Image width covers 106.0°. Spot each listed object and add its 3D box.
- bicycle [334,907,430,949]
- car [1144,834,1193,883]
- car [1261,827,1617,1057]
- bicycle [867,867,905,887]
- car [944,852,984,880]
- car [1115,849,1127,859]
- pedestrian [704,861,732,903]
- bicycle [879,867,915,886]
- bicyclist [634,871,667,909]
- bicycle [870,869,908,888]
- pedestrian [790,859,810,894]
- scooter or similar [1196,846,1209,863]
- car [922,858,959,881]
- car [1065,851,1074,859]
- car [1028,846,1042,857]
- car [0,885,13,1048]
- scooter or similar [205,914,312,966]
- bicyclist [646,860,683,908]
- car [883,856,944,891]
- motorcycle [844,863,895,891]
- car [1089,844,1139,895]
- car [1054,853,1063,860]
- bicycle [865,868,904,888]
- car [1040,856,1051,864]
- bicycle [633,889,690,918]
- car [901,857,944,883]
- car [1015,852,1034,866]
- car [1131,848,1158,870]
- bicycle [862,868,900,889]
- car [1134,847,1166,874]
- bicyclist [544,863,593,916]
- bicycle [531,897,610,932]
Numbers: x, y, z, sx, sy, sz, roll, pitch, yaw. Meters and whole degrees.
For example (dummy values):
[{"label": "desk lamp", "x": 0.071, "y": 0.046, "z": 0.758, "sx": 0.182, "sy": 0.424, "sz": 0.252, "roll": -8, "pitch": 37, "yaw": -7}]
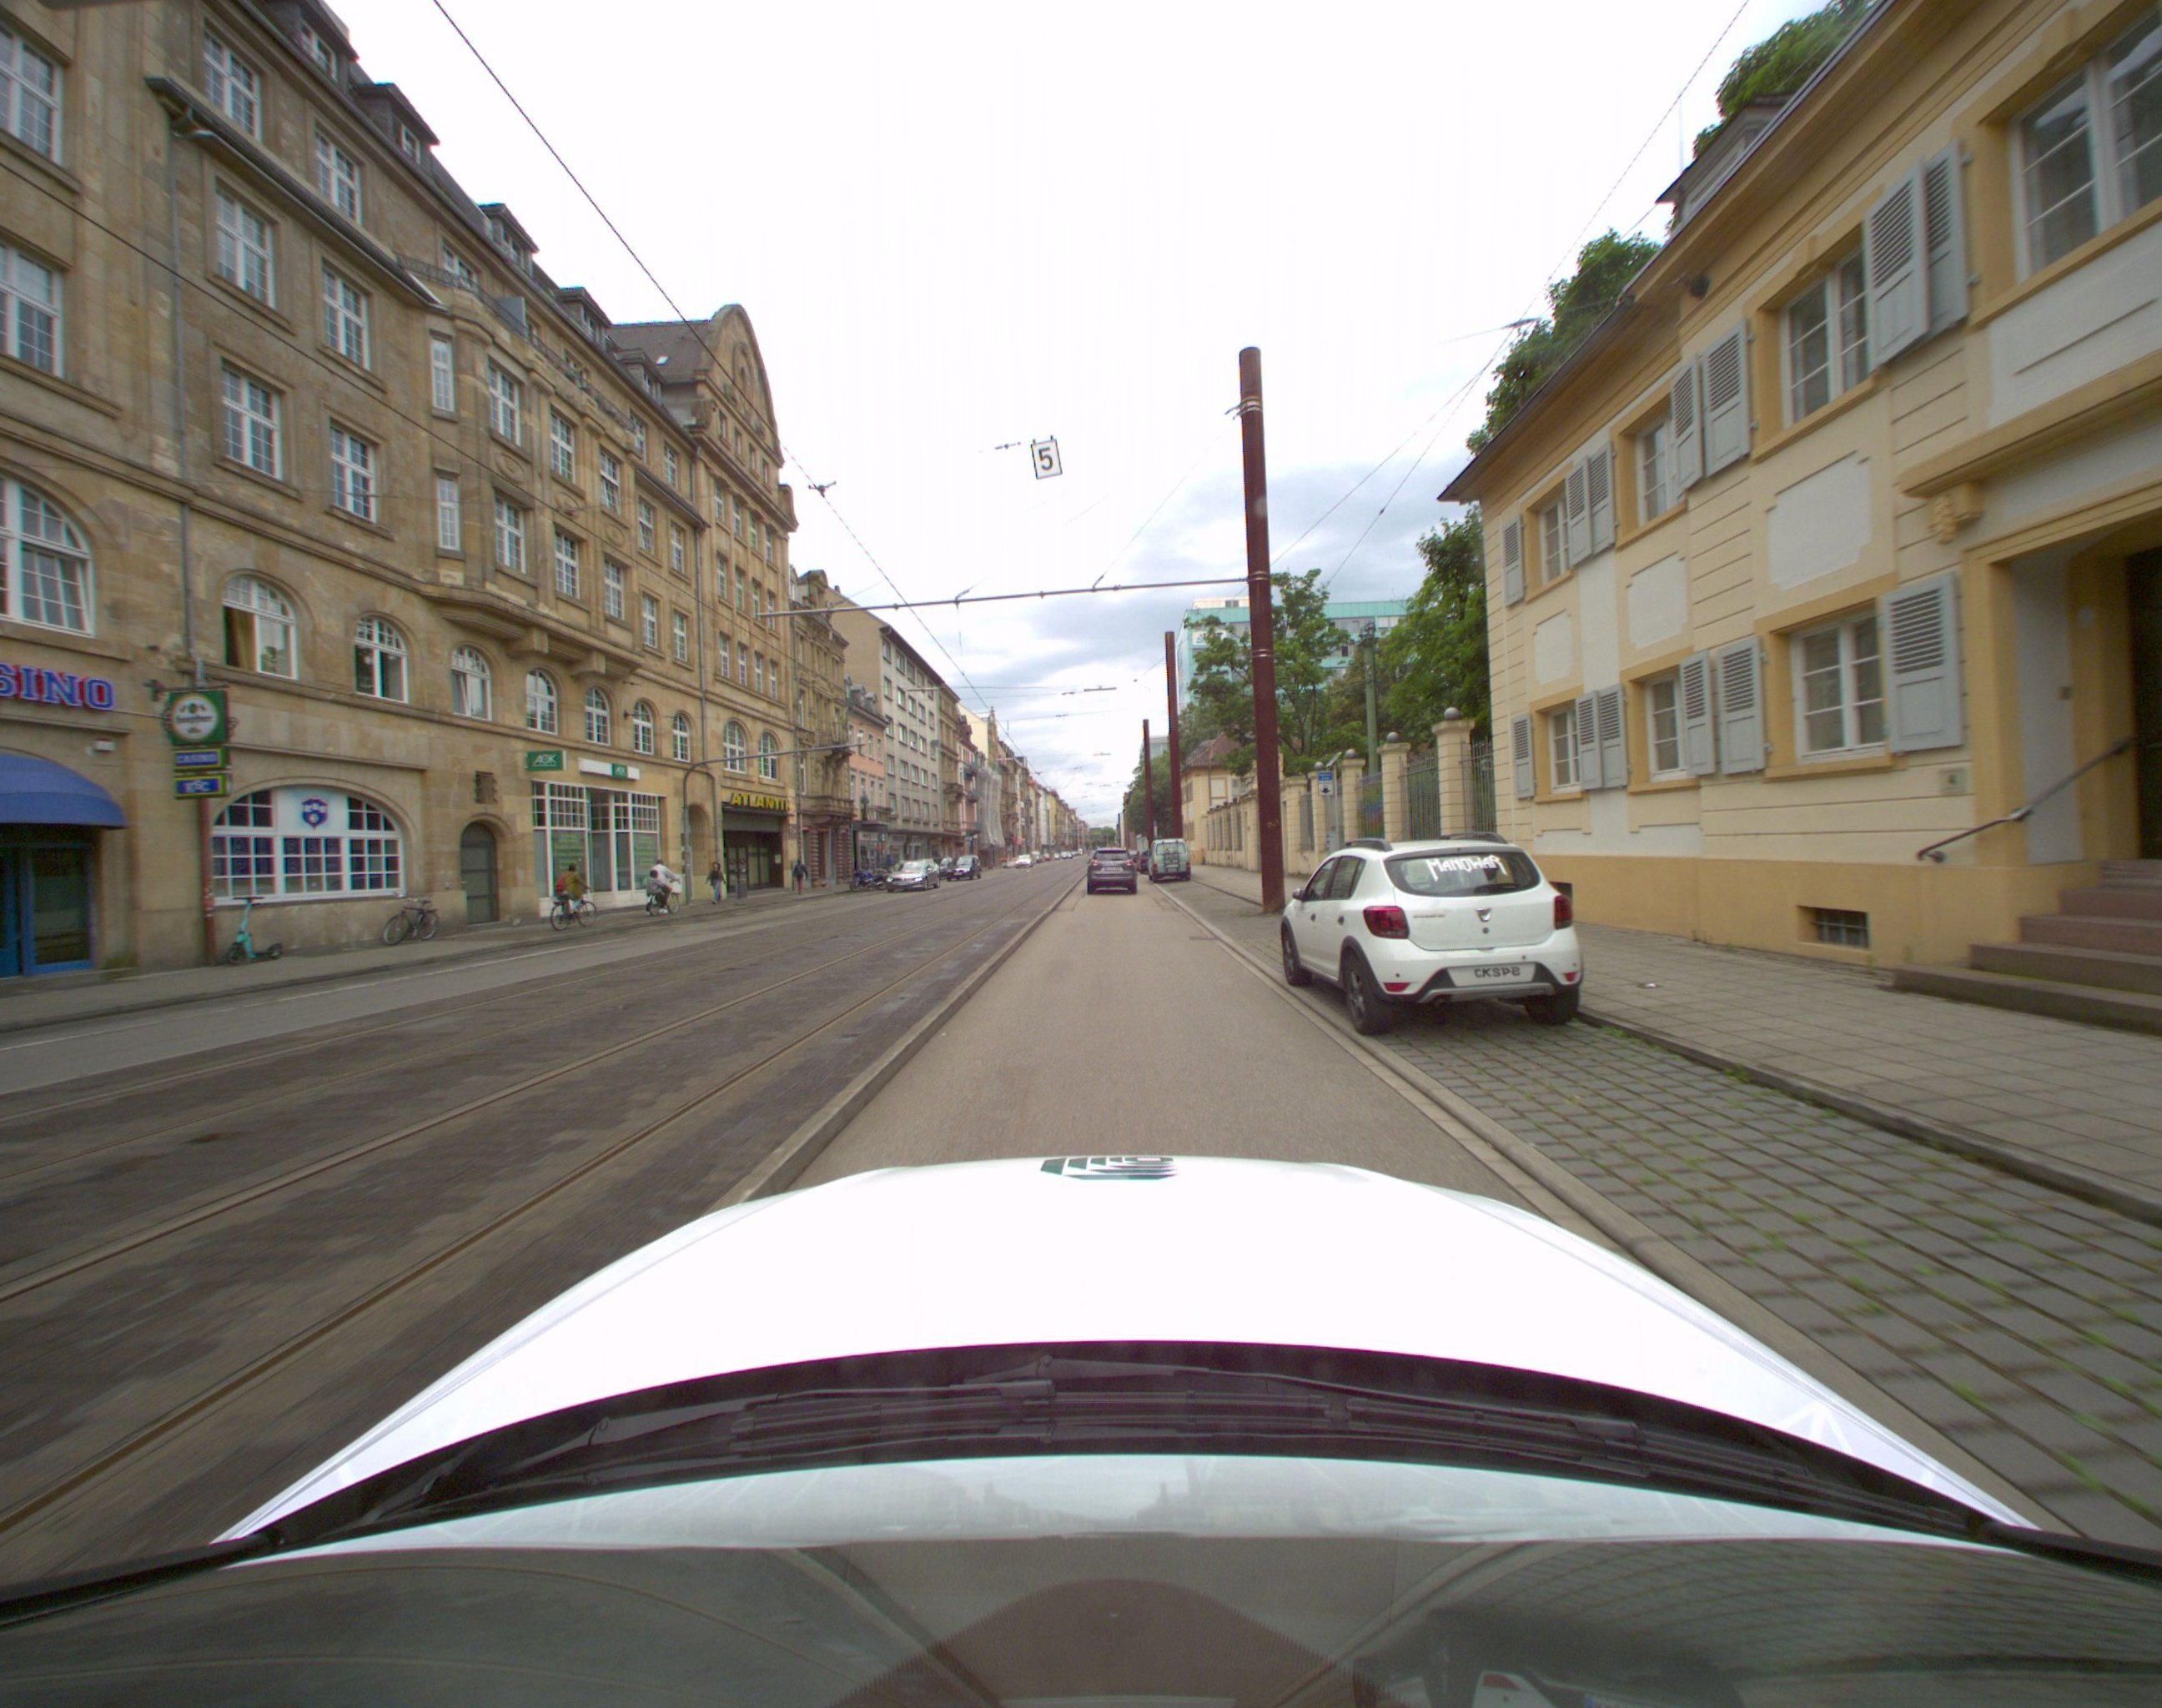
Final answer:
[{"label": "bicycle", "x": -15.366, "y": 1.607, "z": 17.960, "sx": 0.579, "sy": 0.745, "sz": 1.707, "roll": -2, "pitch": 0, "yaw": 2}, {"label": "car", "x": 4.191, "y": 0.198, "z": 39.804, "sx": 1.844, "sy": 2.115, "sz": 4.986, "roll": -5, "pitch": 0, "yaw": 2}, {"label": "car", "x": 3.090, "y": 0.639, "z": 8.011, "sx": 1.749, "sy": 1.574, "sz": 3.932, "roll": -5, "pitch": 0, "yaw": 1}, {"label": "bicycle", "x": -10.855, "y": 1.286, "z": 45.422, "sx": 1.963, "sy": 1.001, "sz": 0.462, "roll": -2, "pitch": 0, "yaw": -6}, {"label": "car", "x": -7.638, "y": 0.738, "z": 53.699, "sx": 1.752, "sy": 1.671, "sz": 4.617, "roll": -2, "pitch": 0, "yaw": 2}, {"label": "car", "x": 5.967, "y": 0.021, "z": 121.471, "sx": 1.769, "sy": 1.420, "sz": 4.136, "roll": -2, "pitch": 0, "yaw": 2}, {"label": "pedestrian", "x": -14.260, "y": 1.094, "z": 32.010, "sx": 0.682, "sy": 1.613, "sz": 0.742, "roll": -2, "pitch": 0, "yaw": 2}, {"label": "bicycle", "x": -10.807, "y": 1.330, "z": 47.837, "sx": 1.963, "sy": 1.001, "sz": 0.462, "roll": -2, "pitch": 0, "yaw": -6}, {"label": "bicyclist", "x": -13.358, "y": 1.111, "z": 25.277, "sx": 0.609, "sy": 1.117, "sz": 0.660, "roll": -2, "pitch": 0, "yaw": 2}, {"label": "bicycle", "x": -10.842, "y": 1.385, "z": 46.001, "sx": 1.963, "sy": 1.001, "sz": 0.462, "roll": -2, "pitch": 0, "yaw": -6}, {"label": "pedestrian", "x": -13.054, "y": 1.028, "z": 37.843, "sx": 0.566, "sy": 1.598, "sz": 0.718, "roll": -2, "pitch": 0, "yaw": 1}, {"label": "scooter or similar", "x": 9.131, "y": 0.048, "z": 61.369, "sx": 0.744, "sy": 1.250, "sz": 1.920, "roll": -2, "pitch": -1, "yaw": 2}, {"label": "car", "x": -10.272, "y": 1.098, "z": 59.955, "sx": 1.769, "sy": 1.504, "sz": 4.403, "roll": -2, "pitch": 0, "yaw": 2}, {"label": "car", "x": -2.475, "y": 0.283, "z": 178.605, "sx": 1.988, "sy": 1.635, "sz": 3.998, "roll": -2, "pitch": -1, "yaw": -1}, {"label": "car", "x": -7.410, "y": -0.407, "z": 130.844, "sx": 1.988, "sy": 1.706, "sz": 3.998, "roll": -2, "pitch": -1, "yaw": -1}, {"label": "car", "x": -12.072, "y": 1.084, "z": 5.833, "sx": 1.892, "sy": 1.977, "sz": 5.099, "roll": -5, "pitch": 0, "yaw": 1}, {"label": "scooter or similar", "x": -15.352, "y": 1.593, "z": 15.242, "sx": 0.579, "sy": 0.802, "sz": 1.346, "roll": -2, "pitch": 0, "yaw": 2}, {"label": "bicyclist", "x": -13.336, "y": 0.938, "z": 26.093, "sx": 0.609, "sy": 1.487, "sz": 0.972, "roll": -2, "pitch": 0, "yaw": 2}, {"label": "car", "x": -8.013, "y": 0.898, "z": 39.337, "sx": 1.752, "sy": 1.449, "sz": 4.617, "roll": -2, "pitch": 0, "yaw": 2}, {"label": "motorcycle", "x": -10.963, "y": 1.181, "z": 42.215, "sx": 2.354, "sy": 1.302, "sz": 0.874, "roll": -2, "pitch": 0, "yaw": -35}, {"label": "car", "x": 1.225, "y": 0.540, "z": 30.805, "sx": 1.743, "sy": 1.756, "sz": 3.925, "roll": -2, "pitch": 0, "yaw": 2}, {"label": "car", "x": -5.326, "y": 0.617, "z": 190.272, "sx": 1.988, "sy": 1.635, "sz": 3.998, "roll": -2, "pitch": -1, "yaw": -1}, {"label": "bicycle", "x": -10.797, "y": 1.298, "z": 44.743, "sx": 1.963, "sy": 1.001, "sz": 0.462, "roll": -2, "pitch": 0, "yaw": -6}, {"label": "car", "x": -6.969, "y": 1.168, "z": 159.789, "sx": 1.988, "sy": 1.464, "sz": 3.998, "roll": -2, "pitch": -1, "yaw": -1}, {"label": "bicycle", "x": -13.319, "y": 1.553, "z": 25.941, "sx": 0.579, "sy": 0.745, "sz": 2.252, "roll": -2, "pitch": 0, "yaw": 2}, {"label": "car", "x": -10.376, "y": 1.014, "z": 53.645, "sx": 1.769, "sy": 1.504, "sz": 4.403, "roll": -2, "pitch": 0, "yaw": 2}, {"label": "car", "x": -6.373, "y": 0.562, "z": 91.909, "sx": 1.681, "sy": 1.420, "sz": 4.136, "roll": -2, "pitch": 0, "yaw": 2}, {"label": "car", "x": 4.662, "y": 0.379, "z": 60.394, "sx": 1.743, "sy": 1.441, "sz": 3.925, "roll": -5, "pitch": 0, "yaw": 2}, {"label": "bicycle", "x": -10.792, "y": 1.312, "z": 43.983, "sx": 1.919, "sy": 1.001, "sz": 0.462, "roll": -2, "pitch": 0, "yaw": -6}, {"label": "car", "x": 4.440, "y": 0.390, "z": 53.076, "sx": 1.743, "sy": 1.596, "sz": 3.925, "roll": -5, "pitch": 0, "yaw": 2}, {"label": "bicyclist", "x": -13.492, "y": 0.913, "z": 21.464, "sx": 0.609, "sy": 1.324, "sz": 0.972, "roll": -2, "pitch": 0, "yaw": 2}, {"label": "bicycle", "x": -13.463, "y": 1.578, "z": 21.558, "sx": 0.579, "sy": 0.745, "sz": 2.252, "roll": -2, "pitch": 0, "yaw": 2}]
